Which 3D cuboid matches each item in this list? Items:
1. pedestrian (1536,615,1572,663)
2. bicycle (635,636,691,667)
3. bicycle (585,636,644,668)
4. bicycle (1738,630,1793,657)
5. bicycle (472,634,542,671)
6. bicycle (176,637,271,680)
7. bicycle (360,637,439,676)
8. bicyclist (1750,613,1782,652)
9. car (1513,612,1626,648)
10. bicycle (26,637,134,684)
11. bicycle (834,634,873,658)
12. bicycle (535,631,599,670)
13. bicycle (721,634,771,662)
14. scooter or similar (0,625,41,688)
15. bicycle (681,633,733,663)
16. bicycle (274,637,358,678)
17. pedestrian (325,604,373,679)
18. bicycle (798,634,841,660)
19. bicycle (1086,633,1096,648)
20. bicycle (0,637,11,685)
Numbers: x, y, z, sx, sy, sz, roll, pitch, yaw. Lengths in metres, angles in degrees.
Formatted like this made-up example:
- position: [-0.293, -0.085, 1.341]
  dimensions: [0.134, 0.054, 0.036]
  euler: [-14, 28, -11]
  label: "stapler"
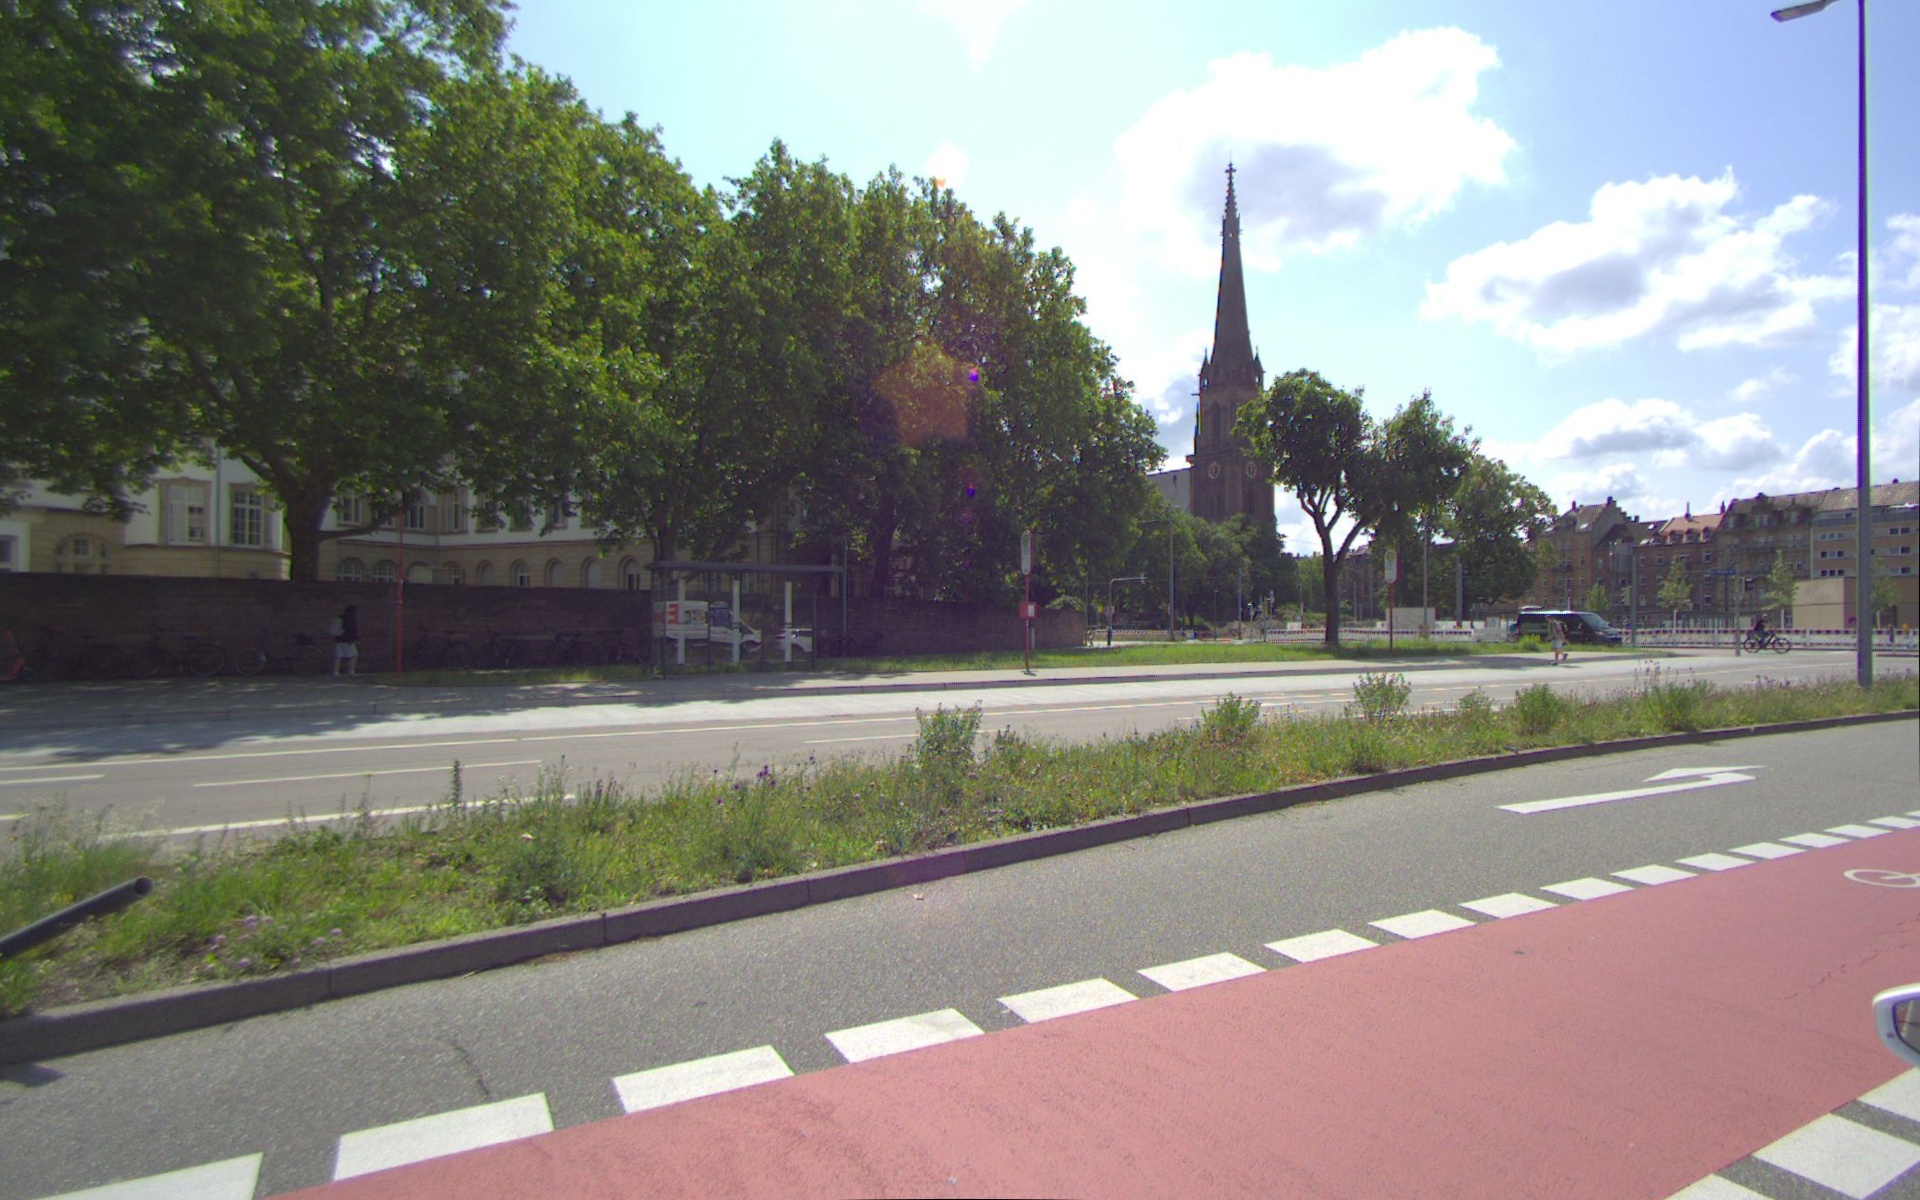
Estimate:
- position: [19.728, 1.292, 33.359]
  dimensions: [0.858, 1.580, 0.556]
  euler: [0, -1, 3]
  label: "pedestrian"
- position: [-9.284, 1.604, 31.465]
  dimensions: [0.537, 0.914, 1.658]
  euler: [0, -1, 39]
  label: "bicycle"
- position: [-10.337, 1.545, 30.106]
  dimensions: [0.537, 0.914, 1.658]
  euler: [0, -1, 39]
  label: "bicycle"
- position: [39.929, 2.136, 49.786]
  dimensions: [0.599, 1.307, 2.049]
  euler: [1, -1, -38]
  label: "bicycle"
- position: [-12.329, 1.416, 27.385]
  dimensions: [0.538, 0.964, 1.656]
  euler: [-1, -1, 43]
  label: "bicycle"
- position: [-16.530, 1.295, 22.568]
  dimensions: [0.538, 0.914, 1.655]
  euler: [-1, -1, 45]
  label: "bicycle"
- position: [-14.097, 1.413, 25.280]
  dimensions: [0.538, 0.914, 1.655]
  euler: [-1, -1, 44]
  label: "bicycle"
- position: [39.934, 1.599, 49.779]
  dimensions: [0.588, 1.869, 1.110]
  euler: [0, -1, -38]
  label: "bicyclist"
- position: [33.310, 1.604, 55.065]
  dimensions: [1.908, 1.904, 4.980]
  euler: [0, -1, -32]
  label: "car"
- position: [-18.132, 1.236, 20.730]
  dimensions: [1.653, 0.914, 0.538]
  euler: [1, -1, -42]
  label: "bicycle"
- position: [-4.120, 1.771, 38.964]
  dimensions: [0.536, 0.914, 1.660]
  euler: [0, -1, 34]
  label: "bicycle"
- position: [-11.181, 1.413, 28.619]
  dimensions: [0.538, 1.065, 1.614]
  euler: [-1, -1, 43]
  label: "bicycle"
- position: [-7.287, 1.618, 34.308]
  dimensions: [0.446, 0.914, 1.786]
  euler: [0, -1, 39]
  label: "bicycle"
- position: [-18.559, 1.079, 19.364]
  dimensions: [0.426, 1.199, 1.188]
  euler: [-1, -1, 39]
  label: "scooter or similar"
- position: [-8.266, 1.553, 32.817]
  dimensions: [0.537, 0.914, 1.658]
  euler: [0, -1, 39]
  label: "bicycle"
- position: [-15.197, 1.353, 23.718]
  dimensions: [1.648, 0.914, 0.499]
  euler: [1, -1, -34]
  label: "bicycle"
- position: [-13.696, 0.917, 22.515]
  dimensions: [0.607, 1.638, 0.754]
  euler: [1, 0, 39]
  label: "pedestrian"
- position: [-5.191, 1.724, 37.176]
  dimensions: [0.537, 0.914, 1.658]
  euler: [0, -1, 39]
  label: "bicycle"
- position: [8.360, 2.591, 64.172]
  dimensions: [0.534, 0.914, 1.666]
  euler: [0, -1, 12]
  label: "bicycle"
- position: [-19.482, 1.186, 19.390]
  dimensions: [1.653, 0.914, 0.538]
  euler: [2, -2, -42]
  label: "bicycle"
